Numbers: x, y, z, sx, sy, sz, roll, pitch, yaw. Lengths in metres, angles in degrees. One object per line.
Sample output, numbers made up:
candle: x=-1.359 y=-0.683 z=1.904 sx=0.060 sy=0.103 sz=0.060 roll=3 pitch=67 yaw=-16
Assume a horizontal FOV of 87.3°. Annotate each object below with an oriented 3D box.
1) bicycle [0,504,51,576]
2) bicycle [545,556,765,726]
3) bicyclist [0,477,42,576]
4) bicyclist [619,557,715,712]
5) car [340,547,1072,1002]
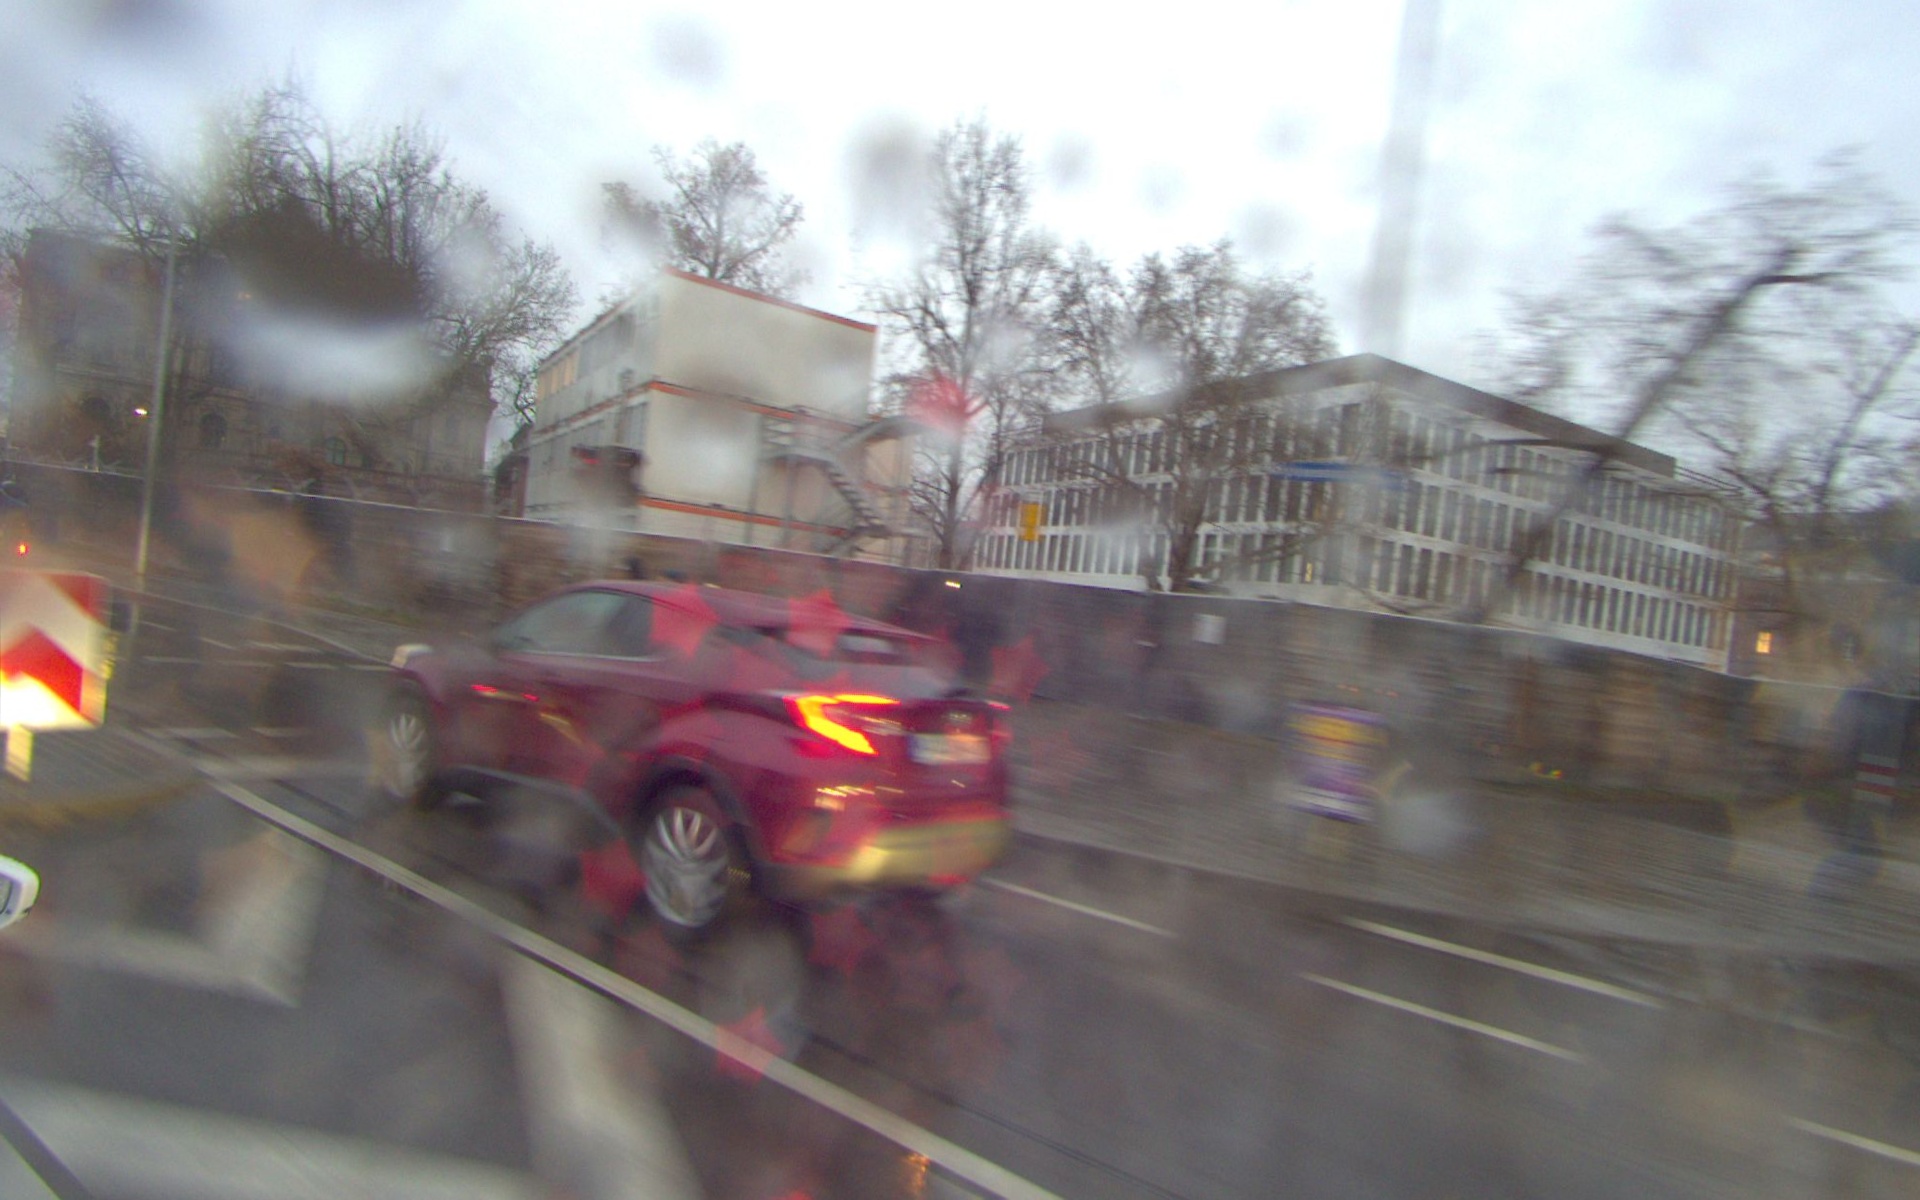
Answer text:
bicycle: x=-17.959 y=-1.164 z=19.040 sx=1.994 sy=1.200 sz=0.412 roll=7 pitch=1 yaw=29
bicycle: x=-3.575 y=0.489 z=11.917 sx=2.206 sy=1.676 sz=0.690 roll=7 pitch=-1 yaw=-2
bicyclist: x=-17.959 y=-1.402 z=19.048 sx=0.823 sy=1.789 sz=0.500 roll=7 pitch=1 yaw=29
bicyclist: x=-3.455 y=0.402 z=11.912 sx=0.803 sy=1.700 sz=0.696 roll=7 pitch=1 yaw=-6
car: x=-1.585 y=0.675 z=5.599 sx=3.939 sy=1.496 sz=1.723 roll=6 pitch=-2 yaw=37
